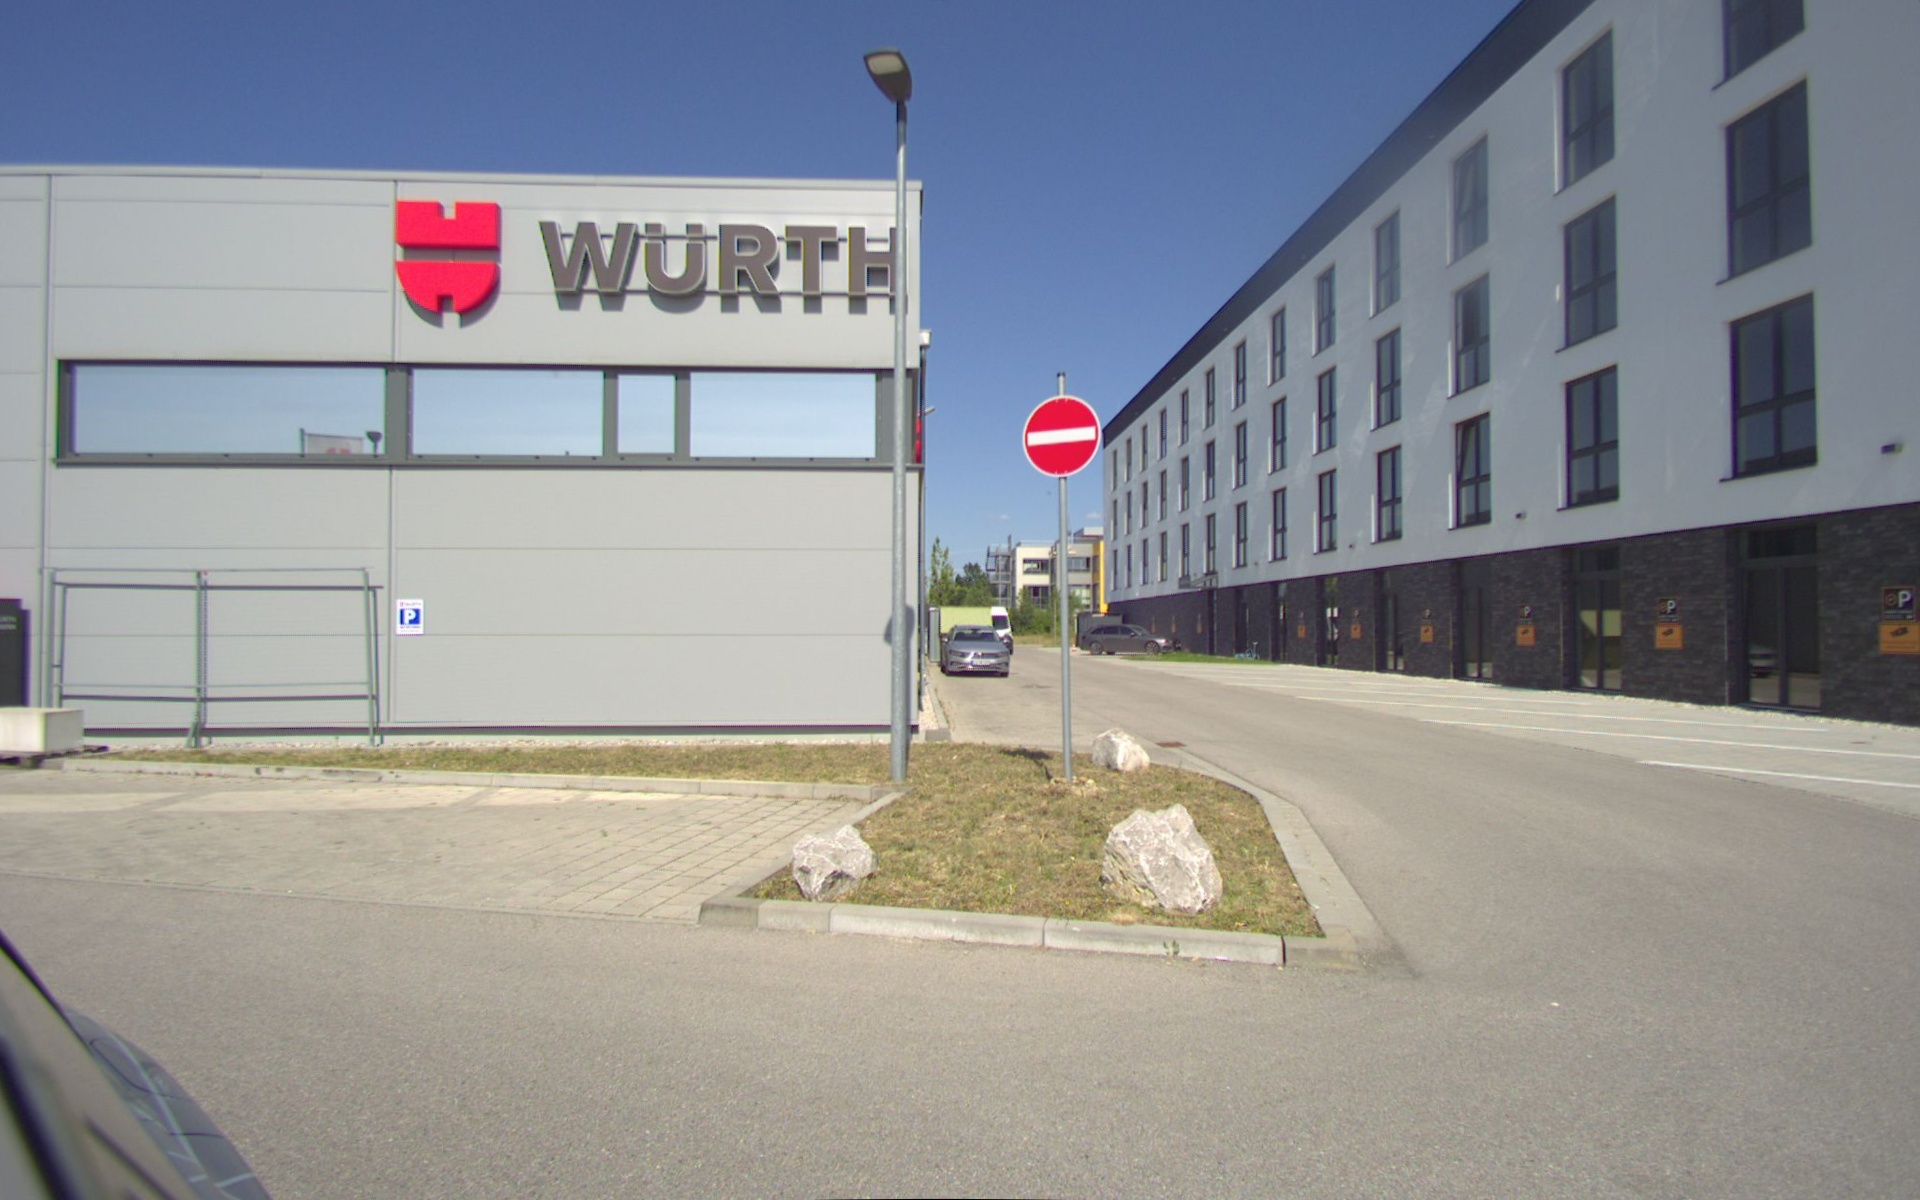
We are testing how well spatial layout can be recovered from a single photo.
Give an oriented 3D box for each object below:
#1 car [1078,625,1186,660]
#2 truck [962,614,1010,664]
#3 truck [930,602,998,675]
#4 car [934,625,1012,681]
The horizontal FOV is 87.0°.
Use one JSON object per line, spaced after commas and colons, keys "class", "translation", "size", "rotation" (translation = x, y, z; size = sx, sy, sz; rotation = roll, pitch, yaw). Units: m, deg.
{"class": "car", "translation": [7.842, 1.940, 46.331], "size": [4.513, 1.519, 1.858], "rotation": [-2, -2, 34]}
{"class": "truck", "translation": [1.287, 2.013, 52.266], "size": [1.970, 2.394, 5.894], "rotation": [-1, -2, -3]}
{"class": "truck", "translation": [0.038, 1.365, 36.422], "size": [2.092, 2.394, 5.894], "rotation": [-1, -2, -3]}
{"class": "car", "translation": [0.307, 1.518, 29.739], "size": [1.851, 1.519, 4.004], "rotation": [-1, -2, -5]}
